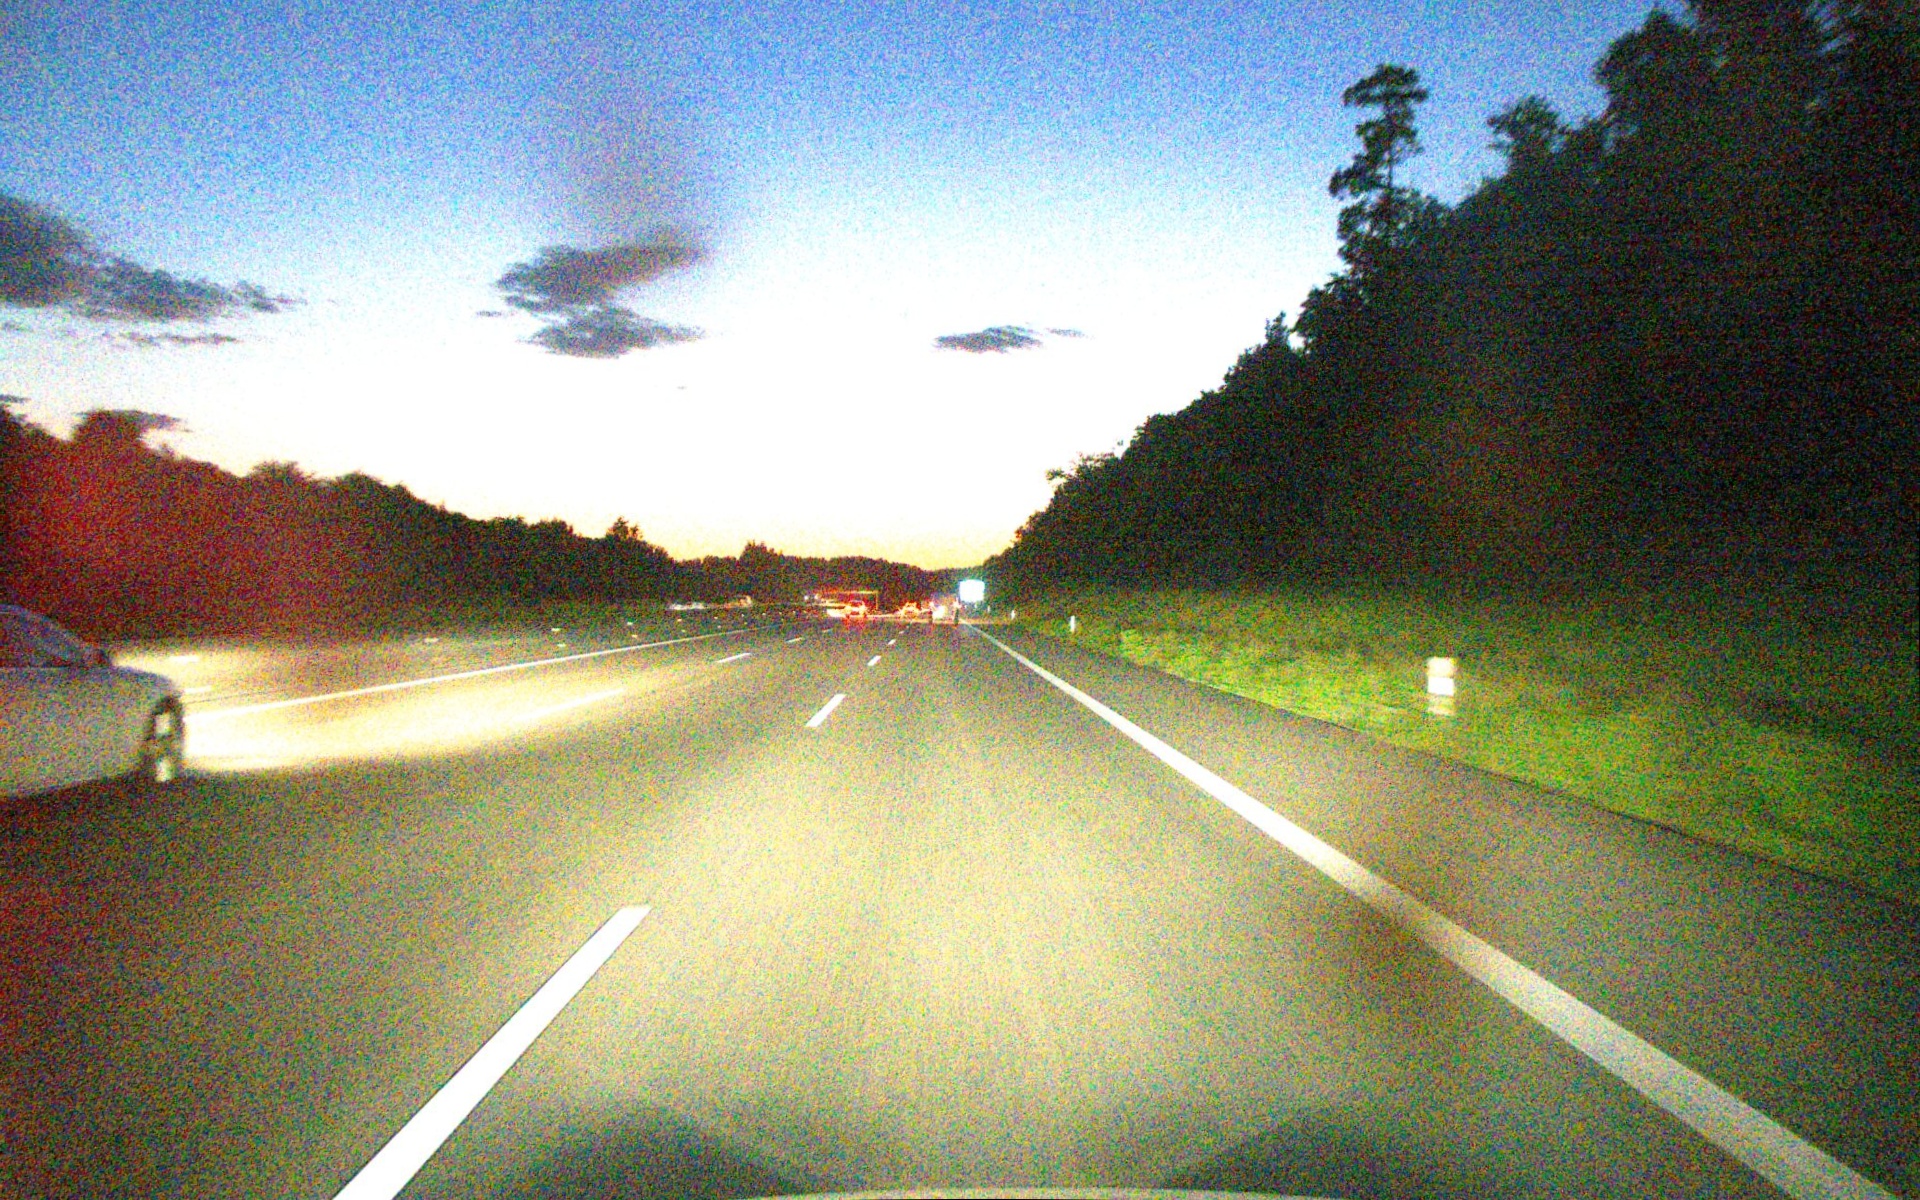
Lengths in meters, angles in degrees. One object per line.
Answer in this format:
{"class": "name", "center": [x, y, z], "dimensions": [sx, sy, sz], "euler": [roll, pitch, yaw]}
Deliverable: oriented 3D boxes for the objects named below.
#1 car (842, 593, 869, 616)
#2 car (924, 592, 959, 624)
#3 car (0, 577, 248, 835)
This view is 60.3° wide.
{"class": "car", "center": [-9.177, 0.404, 145.962], "dimensions": [2.152, 1.989, 4.632], "euler": [1, 0, -1]}
{"class": "car", "center": [-1.251, 0.493, 109.136], "dimensions": [2.152, 1.989, 4.762], "euler": [-3, 0, -1]}
{"class": "car", "center": [-6.508, 0.610, 10.505], "dimensions": [1.743, 1.513, 5.252], "euler": [1, 0, -1]}
